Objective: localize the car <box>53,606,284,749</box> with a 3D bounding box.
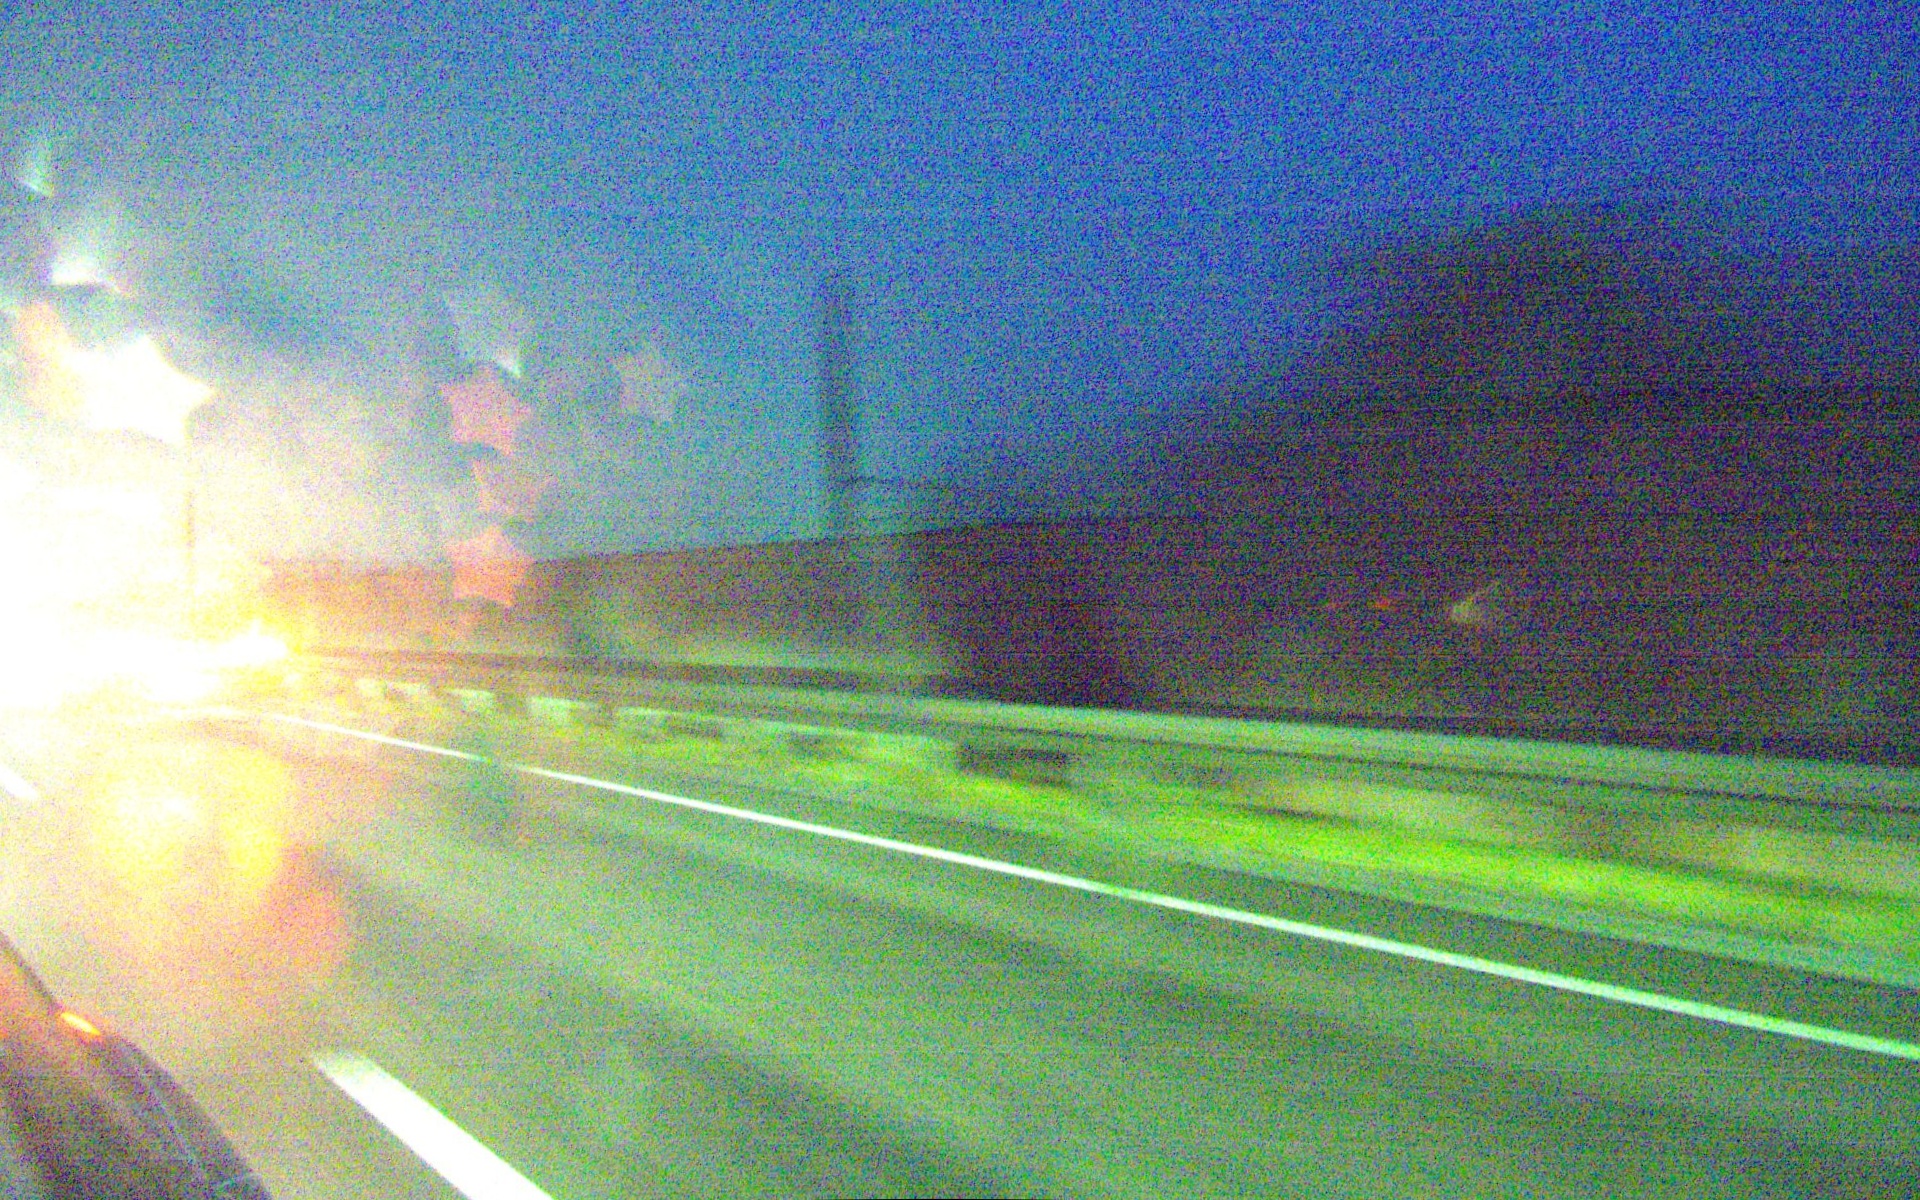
[{"bbox_3d":[-10.732,0.934,13.598,4.349,1.587,1.904,-2,-1,45],"label":"car"}]
